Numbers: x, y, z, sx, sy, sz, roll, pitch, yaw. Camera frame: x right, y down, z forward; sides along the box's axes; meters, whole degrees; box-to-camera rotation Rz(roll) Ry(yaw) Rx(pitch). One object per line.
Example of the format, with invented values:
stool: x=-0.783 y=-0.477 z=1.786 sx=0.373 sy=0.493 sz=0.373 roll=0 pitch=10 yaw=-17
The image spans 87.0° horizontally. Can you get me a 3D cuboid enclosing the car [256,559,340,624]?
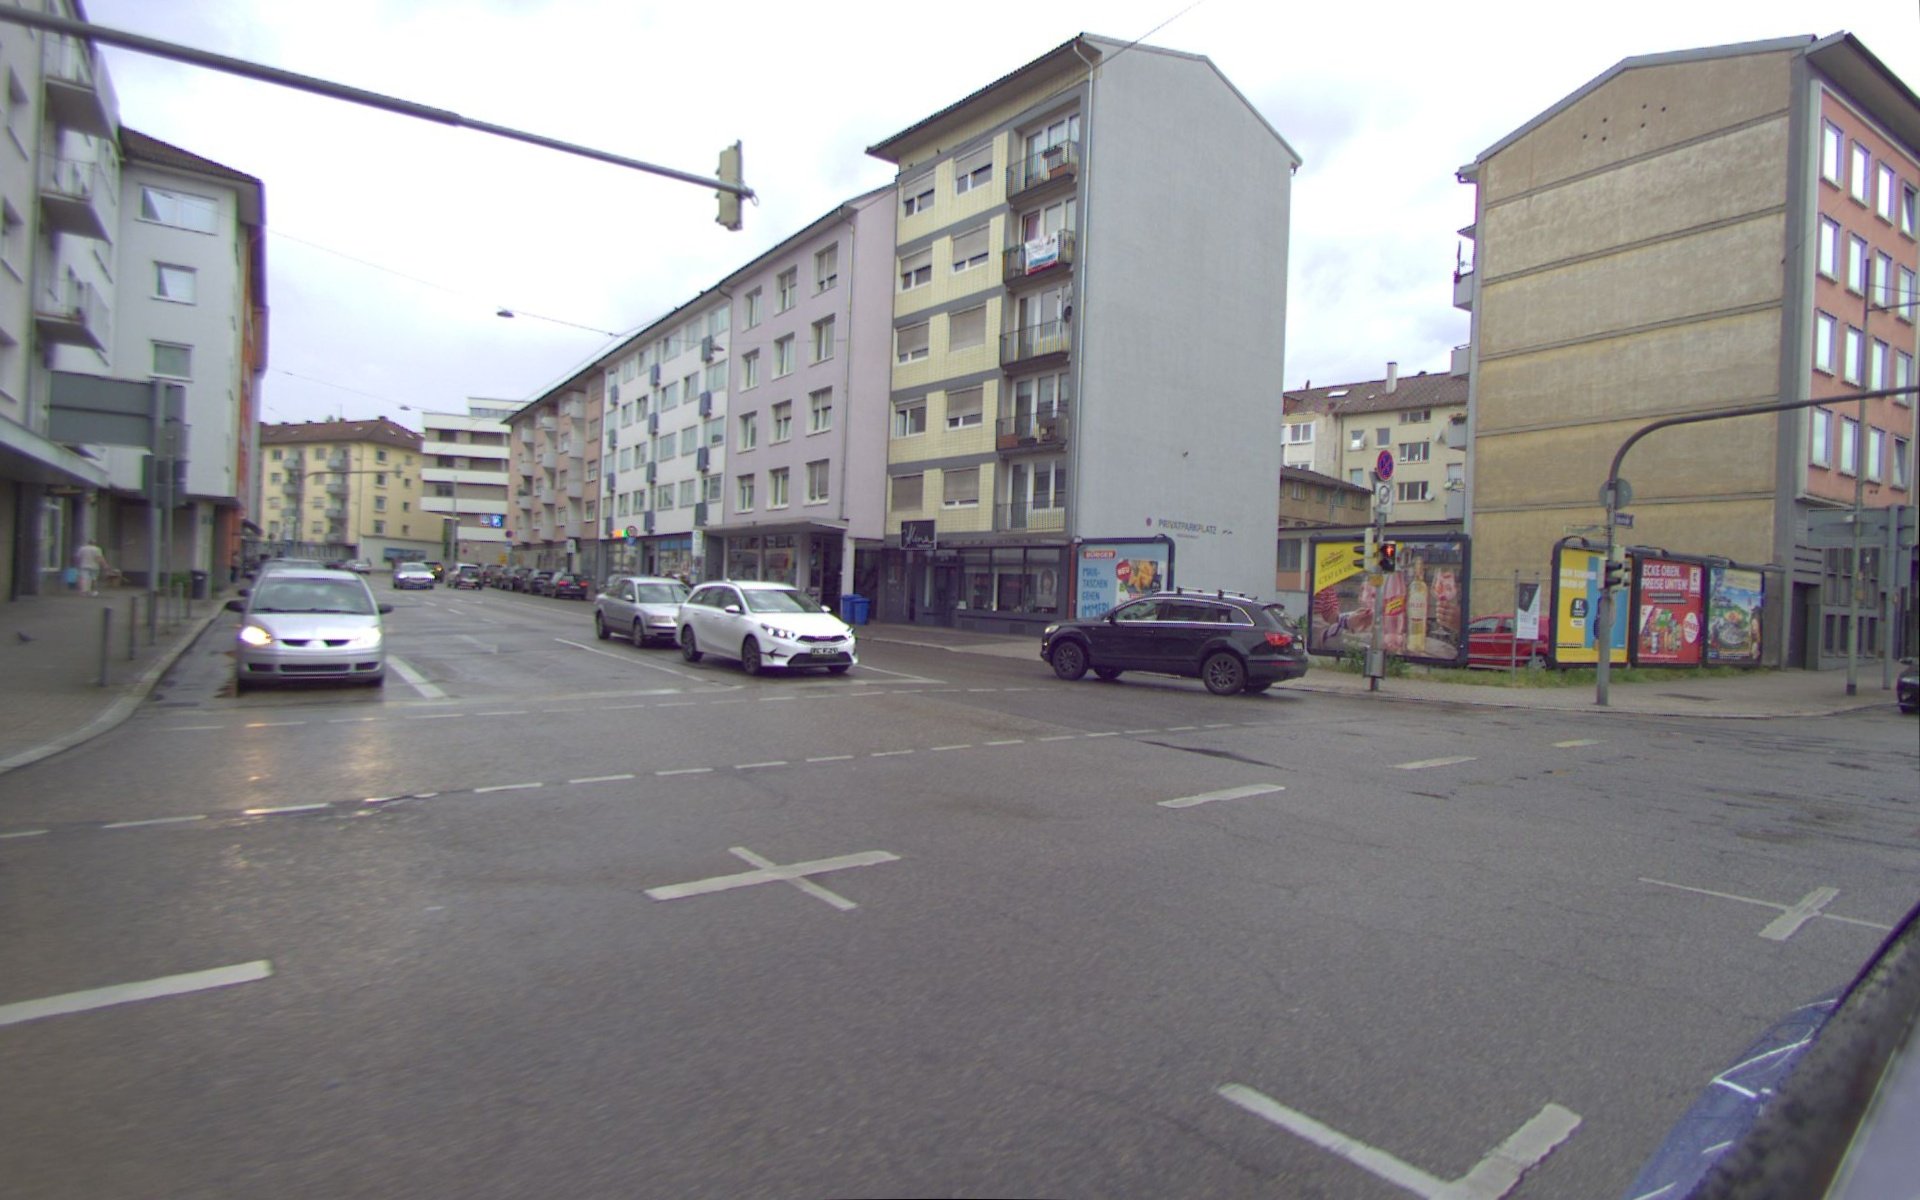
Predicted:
car: x=-17.829 y=-0.267 z=27.217 sx=1.723 sy=1.562 sz=4.254 roll=3 pitch=0 yaw=-34

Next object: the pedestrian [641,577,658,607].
pedestrian: x=-16.093 y=-0.418 z=52.478 sx=0.615 sy=1.523 sz=0.706 roll=3 pitch=-3 yaw=-35

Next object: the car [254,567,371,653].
car: x=-12.568 y=0.143 z=19.519 sx=1.636 sy=1.443 sz=4.384 roll=3 pitch=0 yaw=-36

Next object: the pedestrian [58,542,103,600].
pedestrian: x=-25.804 y=-0.836 z=29.716 sx=0.810 sy=1.633 sz=1.014 roll=3 pitch=-3 yaw=-34

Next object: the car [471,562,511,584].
car: x=-34.578 y=-2.007 z=74.569 sx=1.961 sy=1.401 sz=4.003 roll=3 pitch=2 yaw=-34

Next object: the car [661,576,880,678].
car: x=-3.490 y=0.397 z=17.867 sx=1.884 sy=1.505 sz=4.664 roll=2 pitch=0 yaw=-37

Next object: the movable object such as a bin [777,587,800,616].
movable object such as a bin: x=-6.969 y=0.056 z=41.125 sx=0.684 sy=1.153 sz=0.641 roll=3 pitch=-3 yaw=-35

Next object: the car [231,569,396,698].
car: x=-9.098 y=0.376 z=14.122 sx=1.670 sy=1.505 sz=3.959 roll=3 pitch=0 yaw=-36

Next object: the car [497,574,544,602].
car: x=-28.512 y=-0.780 z=65.572 sx=1.953 sy=1.638 sz=4.128 roll=3 pitch=0 yaw=-35

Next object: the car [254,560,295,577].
car: x=-77.278 y=-3.562 z=114.093 sx=3.915 sy=1.728 sz=1.913 roll=1 pitch=-2 yaw=21

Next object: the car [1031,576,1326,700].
car: x=3.930 y=0.614 z=18.537 sx=4.866 sy=1.893 sz=2.003 roll=3 pitch=-1 yaw=34

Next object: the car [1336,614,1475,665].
car: x=16.401 y=1.443 z=37.586 sx=2.110 sy=1.711 sz=4.788 roll=2 pitch=-2 yaw=-16

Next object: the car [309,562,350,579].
car: x=-68.862 y=-3.242 z=110.531 sx=3.919 sy=1.728 sz=1.911 roll=1 pitch=-2 yaw=23

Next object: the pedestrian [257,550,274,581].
pedestrian: x=-42.550 y=-2.125 z=61.984 sx=0.679 sy=1.830 sz=0.704 roll=4 pitch=-3 yaw=-42

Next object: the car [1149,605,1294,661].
car: x=7.872 y=0.999 z=30.306 sx=4.248 sy=1.458 sz=1.881 roll=3 pitch=0 yaw=-36

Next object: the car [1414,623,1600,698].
car: x=13.792 y=1.483 z=25.635 sx=2.051 sy=1.571 sz=3.659 roll=3 pitch=-1 yaw=-41

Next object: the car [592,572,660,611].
car: x=-15.305 y=-0.412 z=46.276 sx=1.952 sy=1.638 sz=4.130 roll=3 pitch=0 yaw=-33

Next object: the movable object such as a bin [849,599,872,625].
movable object such as a bin: x=-3.652 y=0.429 z=37.101 sx=0.610 sy=0.920 sz=0.534 roll=3 pitch=-3 yaw=-35

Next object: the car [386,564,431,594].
car: x=-31.159 y=-1.212 z=57.145 sx=1.820 sy=1.504 sz=4.002 roll=3 pitch=0 yaw=-34

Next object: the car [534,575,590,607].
car: x=-22.055 y=-0.519 z=55.980 sx=1.952 sy=1.638 sz=4.129 roll=3 pitch=0 yaw=-34

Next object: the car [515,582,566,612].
car: x=-25.202 y=-0.210 z=60.691 sx=1.953 sy=1.638 sz=4.128 roll=3 pitch=0 yaw=-35

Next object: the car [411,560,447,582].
car: x=-40.490 y=-2.245 z=77.135 sx=1.961 sy=1.504 sz=4.002 roll=3 pitch=0 yaw=-34

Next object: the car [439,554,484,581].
car: x=-31.257 y=-2.047 z=63.399 sx=1.961 sy=1.504 sz=4.003 roll=3 pitch=1 yaw=-34

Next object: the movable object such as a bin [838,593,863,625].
movable object such as a bin: x=-4.076 y=0.325 z=37.632 sx=0.684 sy=1.153 sz=0.641 roll=3 pitch=-3 yaw=-35

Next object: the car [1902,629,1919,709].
car: x=20.194 y=1.323 z=19.791 sx=3.979 sy=1.516 sz=1.789 roll=1 pitch=-2 yaw=-35

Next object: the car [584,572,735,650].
car: x=-6.795 y=0.196 z=22.577 sx=1.810 sy=1.505 sz=4.525 roll=3 pitch=0 yaw=-36
